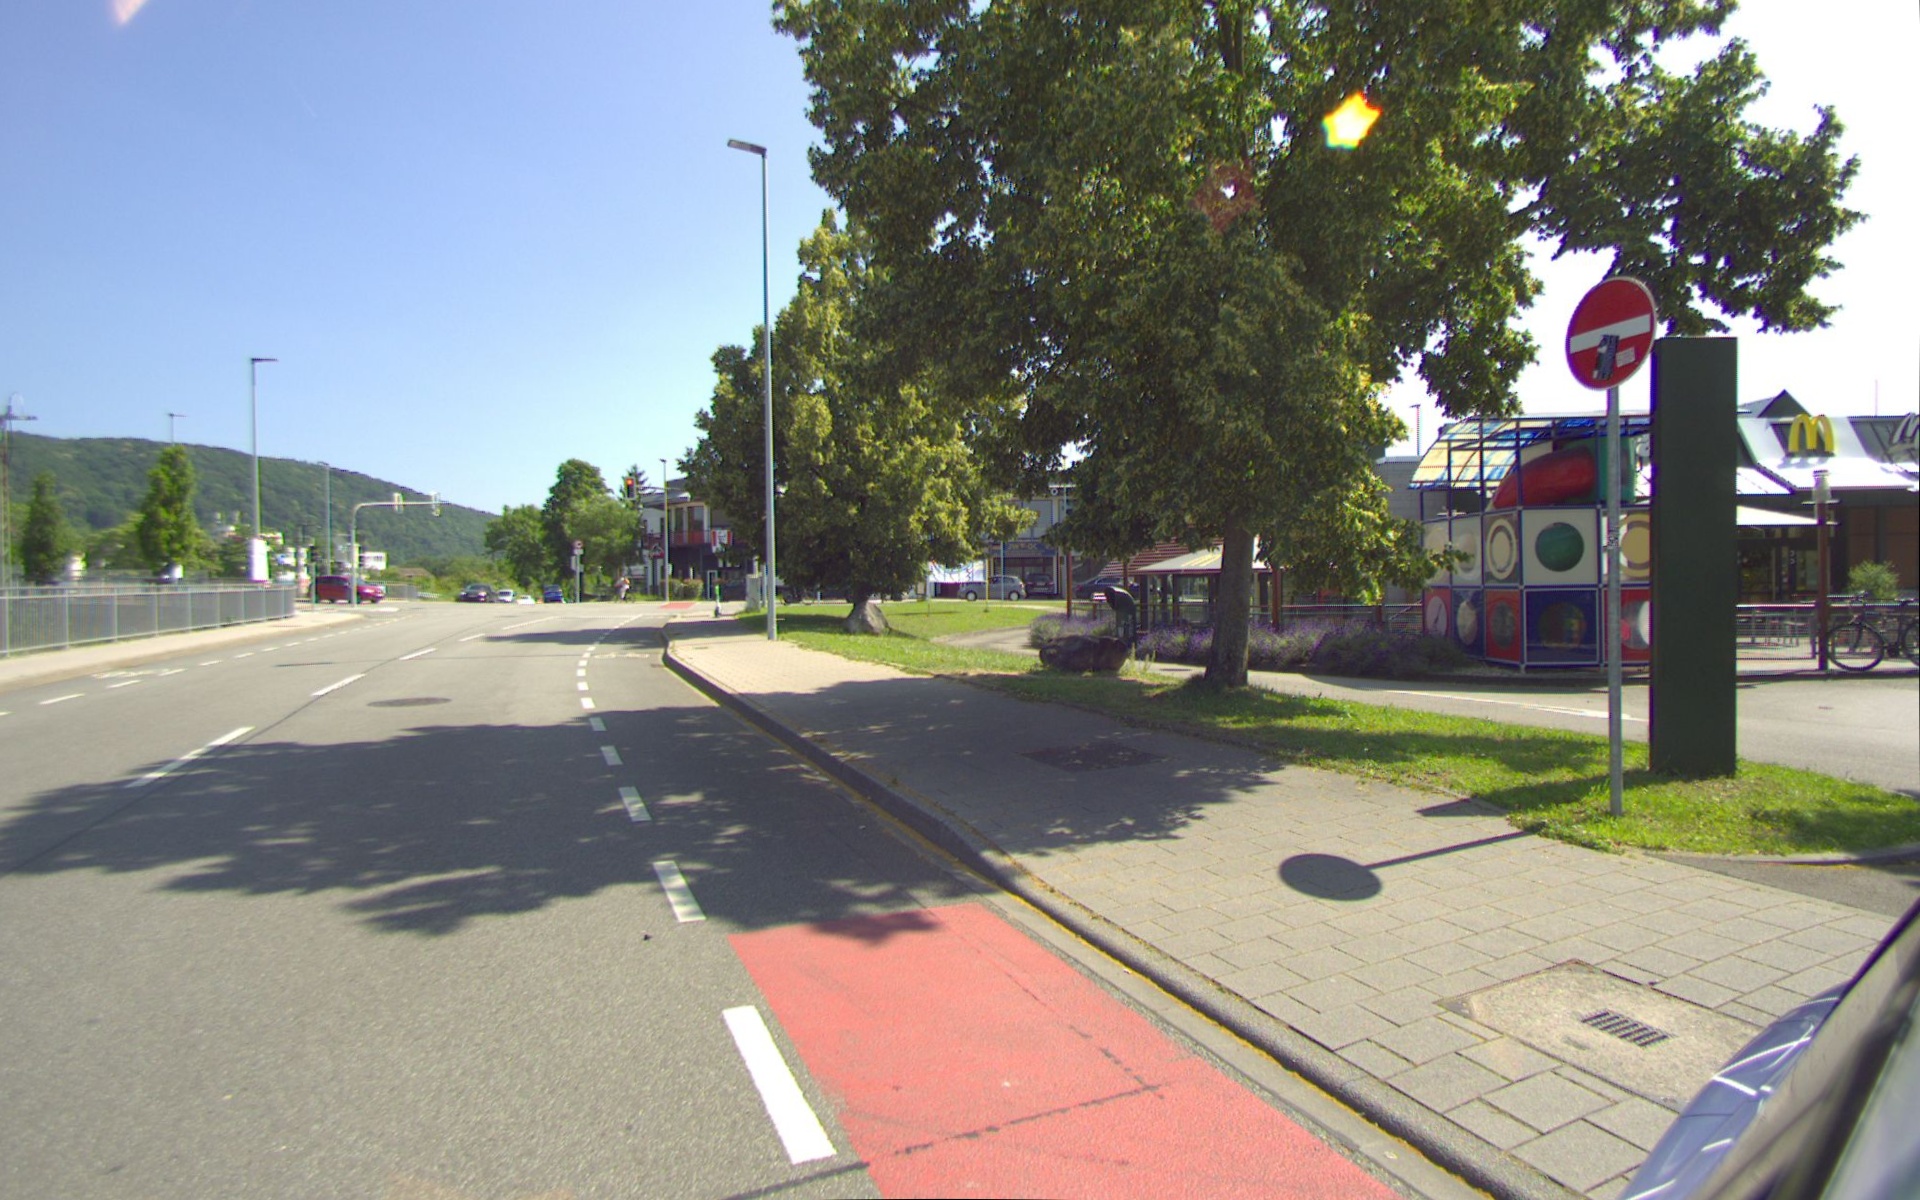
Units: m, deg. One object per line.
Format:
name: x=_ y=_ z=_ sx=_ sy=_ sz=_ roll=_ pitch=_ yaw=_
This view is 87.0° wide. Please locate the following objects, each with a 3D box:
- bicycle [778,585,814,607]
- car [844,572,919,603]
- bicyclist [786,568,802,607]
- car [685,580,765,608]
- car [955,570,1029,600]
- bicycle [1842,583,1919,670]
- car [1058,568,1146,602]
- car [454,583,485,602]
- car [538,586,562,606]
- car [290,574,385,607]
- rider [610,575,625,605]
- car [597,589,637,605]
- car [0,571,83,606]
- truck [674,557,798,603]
bicycle: x=-8.309 y=-0.195 z=51.372 sx=1.694 sy=1.055 sz=0.582 roll=0 pitch=3 yaw=4
car: x=-4.680 y=-0.769 z=60.556 sx=4.291 sy=1.645 sz=1.832 roll=-1 pitch=4 yaw=3
bicyclist: x=-8.423 y=-0.640 z=51.342 sx=0.645 sy=1.919 sz=0.552 roll=0 pitch=3 yaw=4
car: x=-14.023 y=-0.381 z=60.440 sx=4.291 sy=1.508 sz=1.832 roll=-1 pitch=4 yaw=3
car: x=1.887 y=-0.908 z=59.978 sx=4.291 sy=1.645 sz=1.832 roll=-1 pitch=4 yaw=3
bicycle: x=13.861 y=0.369 z=14.772 sx=1.584 sy=1.200 sz=0.309 roll=-3 pitch=3 yaw=6
car: x=7.565 y=-0.810 z=54.098 sx=4.533 sy=1.775 sz=1.883 roll=-1 pitch=1 yaw=6
car: x=-35.902 y=-0.570 z=74.177 sx=1.577 sy=1.271 sz=3.691 roll=-1 pitch=1 yaw=-18
car: x=-33.749 y=-0.325 z=83.307 sx=1.578 sy=1.555 sz=3.689 roll=-1 pitch=1 yaw=-26
car: x=-35.825 y=-0.566 z=58.333 sx=4.289 sy=1.698 sz=1.833 roll=-1 pitch=4 yaw=2
rider: x=-21.586 y=-0.652 z=63.732 sx=0.673 sy=1.835 sz=0.548 roll=-1 pitch=4 yaw=3
car: x=-21.604 y=-0.190 z=63.791 sx=2.339 sy=0.912 sz=0.576 roll=-1 pitch=4 yaw=3
car: x=-54.109 y=-0.699 z=59.094 sx=4.293 sy=1.871 sz=1.831 roll=-1 pitch=4 yaw=5
truck: x=-12.185 y=-1.082 z=55.359 sx=6.270 sy=2.405 sz=2.384 roll=-1 pitch=0 yaw=2
